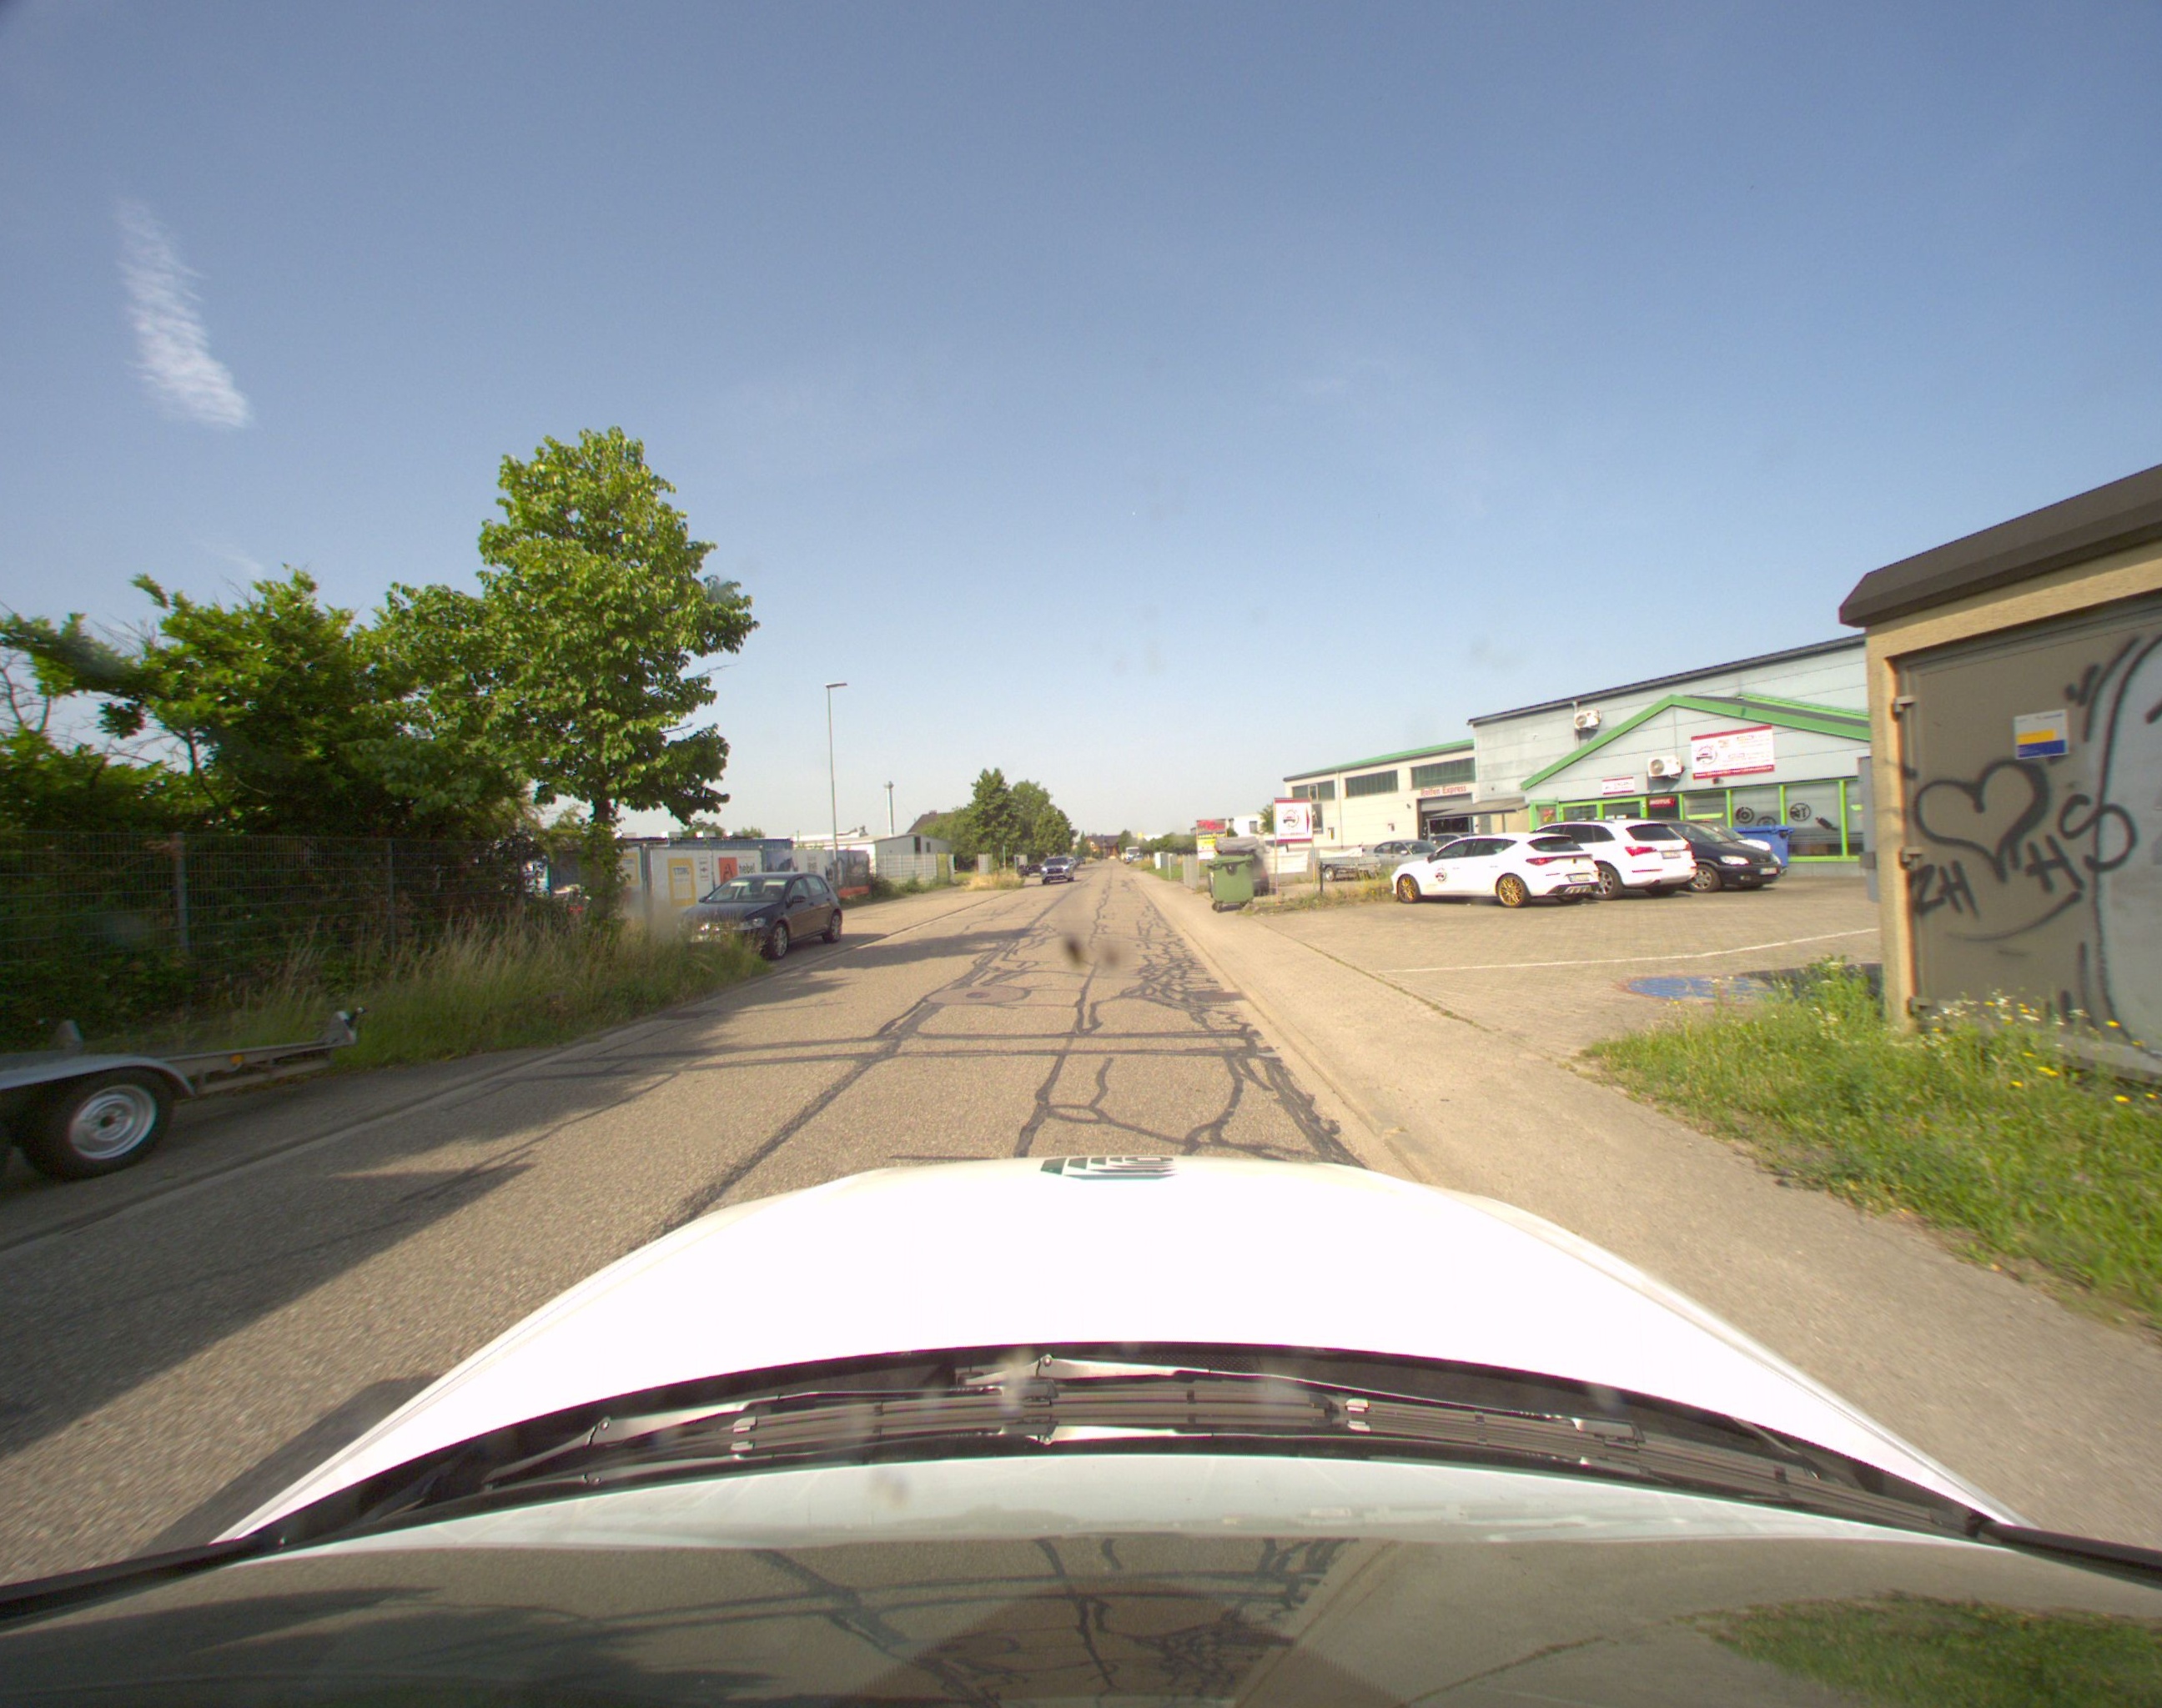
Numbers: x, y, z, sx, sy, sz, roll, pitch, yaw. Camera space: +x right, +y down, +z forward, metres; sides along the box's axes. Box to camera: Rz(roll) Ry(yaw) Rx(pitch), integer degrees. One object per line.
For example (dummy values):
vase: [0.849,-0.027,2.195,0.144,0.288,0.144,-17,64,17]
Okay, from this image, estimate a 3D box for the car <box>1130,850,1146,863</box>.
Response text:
car: [7.255,0.316,104.458,1.787,1.517,4.426,-3,0,2]

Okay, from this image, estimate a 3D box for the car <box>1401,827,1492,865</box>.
car: [16.966,-0.329,37.985,1.639,1.568,3.781,-3,0,-19]

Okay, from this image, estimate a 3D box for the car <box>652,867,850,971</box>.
car: [-5.843,1.070,15.007,1.680,1.470,4.097,-3,0,4]

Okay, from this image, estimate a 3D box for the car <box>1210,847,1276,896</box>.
car: [5.104,0.491,26.122,1.665,1.368,4.402,-3,0,7]

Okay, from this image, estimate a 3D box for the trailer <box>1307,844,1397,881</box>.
trailer: [9.846,0.300,29.770,1.497,1.248,2.954,-2,0,-24]

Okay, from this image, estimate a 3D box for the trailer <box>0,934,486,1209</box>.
trailer: [-6.405,1.255,3.689,2.639,0.985,6.245,-4,0,2]

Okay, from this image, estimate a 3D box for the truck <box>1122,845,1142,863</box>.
truck: [7.965,-0.008,128.031,2.352,2.681,6.507,-3,0,-1]

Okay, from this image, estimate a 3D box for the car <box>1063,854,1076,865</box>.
car: [-1.601,0.762,114.609,1.677,1.469,4.256,-2,0,2]

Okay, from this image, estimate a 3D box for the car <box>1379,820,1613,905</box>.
car: [8.392,0.179,16.931,1.694,1.466,4.231,-3,0,-22]

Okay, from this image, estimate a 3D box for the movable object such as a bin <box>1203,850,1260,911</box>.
movable object such as a bin: [3.696,0.627,20.131,1.076,1.353,1.507,-6,0,3]

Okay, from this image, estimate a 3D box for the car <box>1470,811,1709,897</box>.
car: [10.719,0.016,17.537,1.722,1.572,4.102,-3,0,-22]

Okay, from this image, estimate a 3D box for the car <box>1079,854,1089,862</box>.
car: [0.588,0.777,164.011,1.793,1.386,3.639,-2,0,2]

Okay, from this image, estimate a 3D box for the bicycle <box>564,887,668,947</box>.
bicycle: [-9.207,1.214,16.254,0.560,0.973,2.453,-4,0,2]

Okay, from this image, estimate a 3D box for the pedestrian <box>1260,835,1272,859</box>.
pedestrian: [13.330,-0.494,58.618,0.697,1.640,0.752,-3,0,15]

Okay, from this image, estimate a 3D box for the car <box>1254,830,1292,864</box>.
car: [16.810,-0.605,71.536,1.967,2.705,5.883,-3,0,2]

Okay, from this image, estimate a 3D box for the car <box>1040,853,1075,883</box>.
car: [-1.436,0.822,50.493,1.805,1.627,4.251,-4,0,2]

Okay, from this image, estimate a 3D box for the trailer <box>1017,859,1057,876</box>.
trailer: [-3.613,1.074,68.862,2.572,1.184,9.367,-2,0,2]

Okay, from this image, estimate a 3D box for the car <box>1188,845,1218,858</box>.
car: [17.492,-0.311,116.323,4.559,1.589,1.667,-3,0,-42]

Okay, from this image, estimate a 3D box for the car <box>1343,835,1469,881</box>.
car: [11.744,0.166,29.799,1.646,1.466,4.428,-3,0,-22]

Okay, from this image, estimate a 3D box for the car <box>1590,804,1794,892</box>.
car: [13.471,-0.109,18.146,1.645,1.720,3.190,-3,0,-22]
